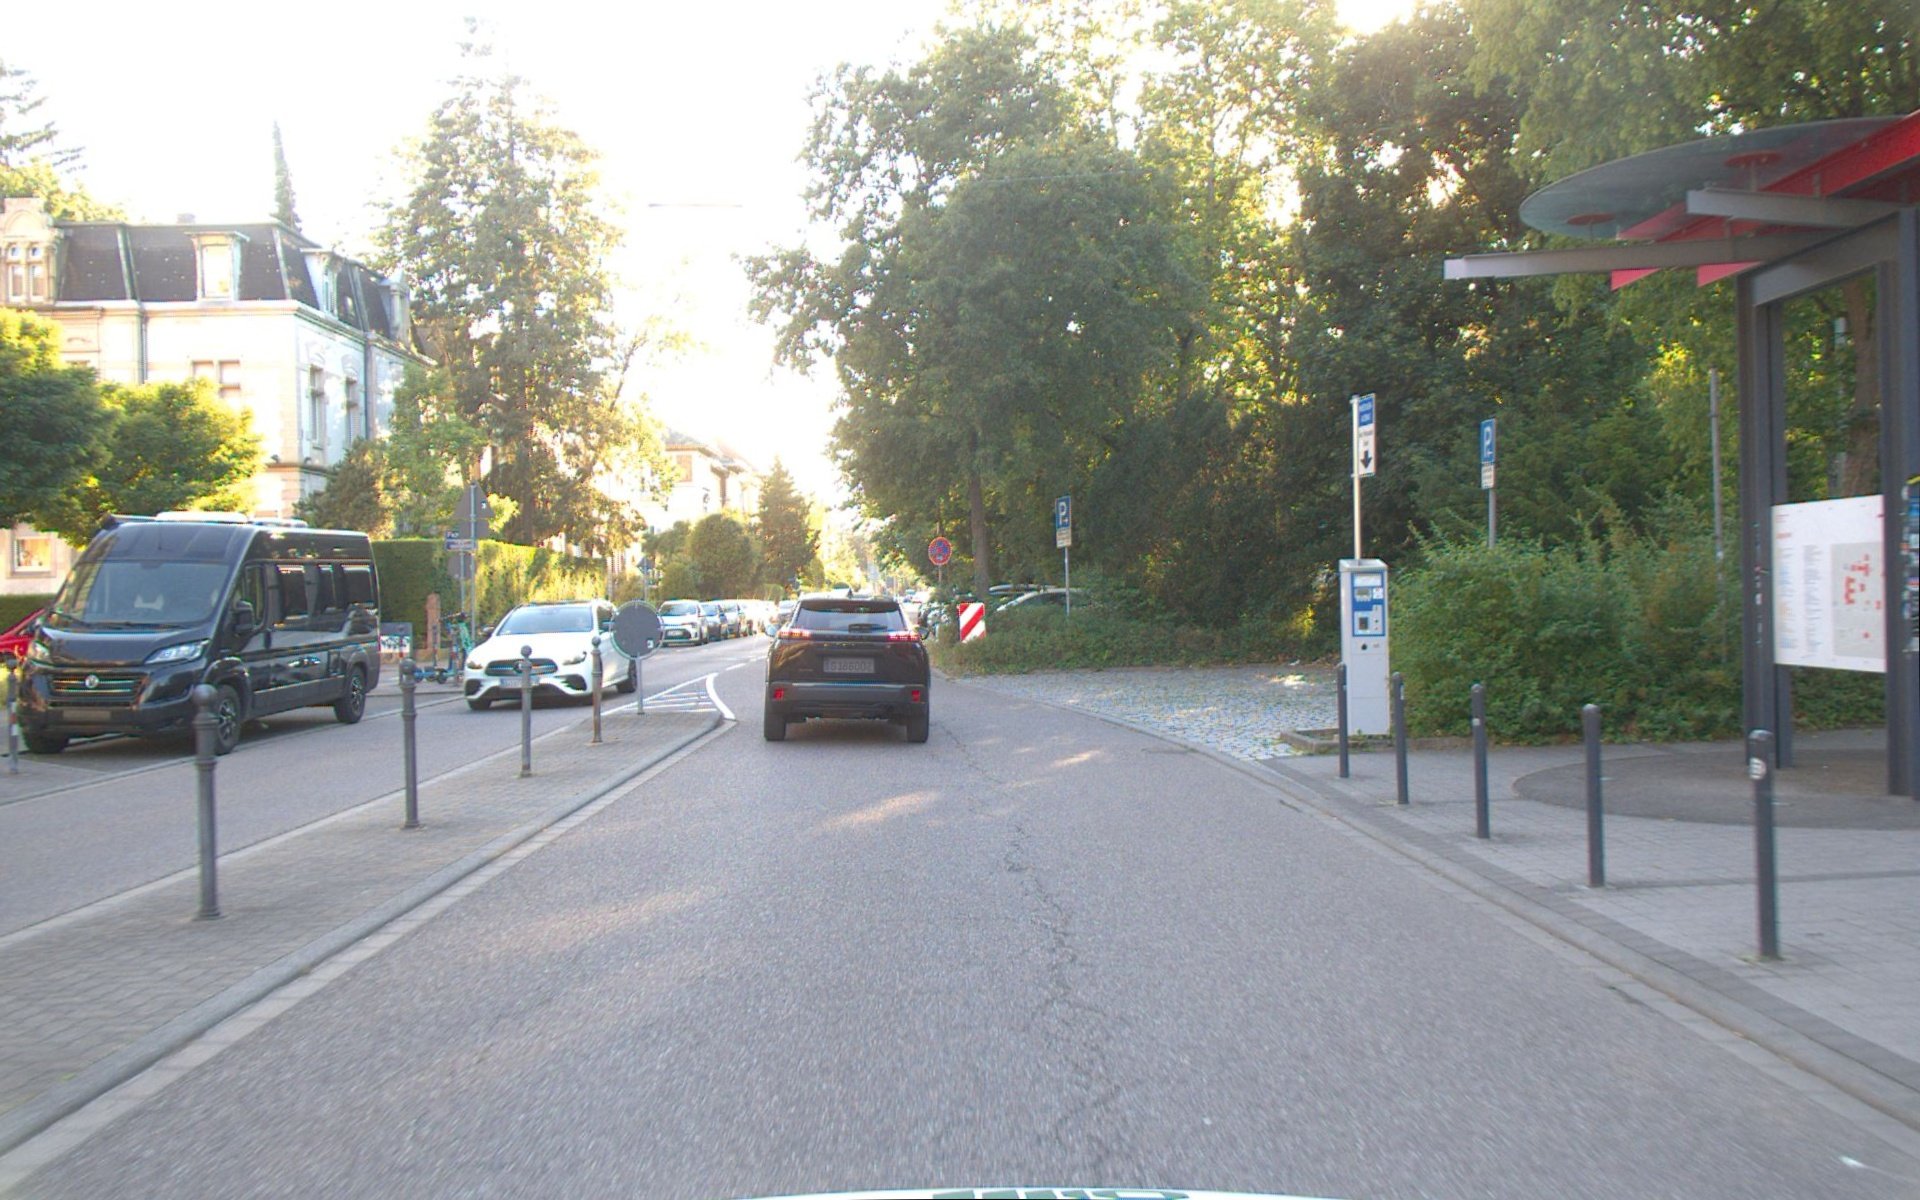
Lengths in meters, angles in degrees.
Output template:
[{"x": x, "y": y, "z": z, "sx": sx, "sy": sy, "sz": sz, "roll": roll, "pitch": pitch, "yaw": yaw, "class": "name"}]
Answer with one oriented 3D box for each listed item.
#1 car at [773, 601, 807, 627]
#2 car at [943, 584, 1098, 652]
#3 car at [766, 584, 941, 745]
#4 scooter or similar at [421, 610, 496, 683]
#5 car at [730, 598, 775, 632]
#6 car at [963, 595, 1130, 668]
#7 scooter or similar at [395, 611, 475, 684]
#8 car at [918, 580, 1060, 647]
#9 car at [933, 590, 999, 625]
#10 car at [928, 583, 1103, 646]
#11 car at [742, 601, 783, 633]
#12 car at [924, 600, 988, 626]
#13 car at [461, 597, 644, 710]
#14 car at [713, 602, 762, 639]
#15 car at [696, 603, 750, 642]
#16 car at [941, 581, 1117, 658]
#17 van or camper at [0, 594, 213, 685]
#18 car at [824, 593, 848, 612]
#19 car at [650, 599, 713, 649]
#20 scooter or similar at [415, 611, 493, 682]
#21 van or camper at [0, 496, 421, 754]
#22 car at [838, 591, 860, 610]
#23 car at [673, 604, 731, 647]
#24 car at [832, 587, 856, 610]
[{"x": -10.090, "y": 0.819, "z": 98.156, "sx": 1.717, "sy": 1.438, "sz": 3.762, "roll": -3, "pitch": 0, "yaw": -3, "class": "car"}, {"x": 1.540, "y": 0.446, "z": 43.166, "sx": 3.906, "sy": 1.581, "sz": 1.752, "roll": -2, "pitch": 1, "yaw": -2, "class": "car"}, {"x": -1.110, "y": 0.639, "z": 18.726, "sx": 1.735, "sy": 1.596, "sz": 4.108, "roll": 1, "pitch": 0, "yaw": -1, "class": "car"}, {"x": -9.159, "y": 0.837, "z": 30.256, "sx": 0.423, "sy": 1.297, "sz": 1.340, "roll": -1, "pitch": -1, "yaw": 34, "class": "scooter or similar"}, {"x": -9.657, "y": 0.701, "z": 77.156, "sx": 1.581, "sy": 1.492, "sz": 4.035, "roll": -2, "pitch": 0, "yaw": -1, "class": "car"}, {"x": 2.071, "y": 0.756, "z": 40.298, "sx": 3.906, "sy": 1.581, "sz": 1.725, "roll": -2, "pitch": 1, "yaw": -2, "class": "car"}, {"x": -9.715, "y": 0.871, "z": 30.611, "sx": 1.329, "sy": 1.297, "sz": 0.426, "roll": -1, "pitch": -1, "yaw": -37, "class": "scooter or similar"}, {"x": 0.854, "y": 0.408, "z": 51.283, "sx": 4.220, "sy": 1.836, "sz": 2.034, "roll": -3, "pitch": 0, "yaw": -2, "class": "car"}, {"x": 0.371, "y": 0.467, "z": 103.001, "sx": 3.910, "sy": 2.126, "sz": 1.755, "roll": -1, "pitch": 0, "yaw": -6, "class": "car"}, {"x": 1.514, "y": 0.366, "z": 45.300, "sx": 4.417, "sy": 1.581, "sz": 1.846, "roll": -1, "pitch": 1, "yaw": -20, "class": "car"}, {"x": -9.744, "y": 0.840, "z": 81.875, "sx": 1.581, "sy": 1.492, "sz": 4.035, "roll": -2, "pitch": 0, "yaw": -1, "class": "car"}, {"x": -0.284, "y": 0.824, "z": 105.750, "sx": 3.910, "sy": 1.552, "sz": 1.755, "roll": -1, "pitch": 0, "yaw": -6, "class": "car"}, {"x": -6.026, "y": 0.744, "z": 25.002, "sx": 1.706, "sy": 1.483, "sz": 4.622, "roll": -2, "pitch": 0, "yaw": -2, "class": "car"}, {"x": -9.599, "y": 0.882, "z": 71.683, "sx": 1.581, "sy": 1.492, "sz": 4.035, "roll": -2, "pitch": 0, "yaw": -1, "class": "car"}, {"x": -9.423, "y": 0.876, "z": 65.913, "sx": 1.581, "sy": 1.492, "sz": 4.035, "roll": -2, "pitch": 0, "yaw": -1, "class": "car"}, {"x": 1.547, "y": 0.423, "z": 38.065, "sx": 3.906, "sy": 1.581, "sz": 1.725, "roll": -2, "pitch": 1, "yaw": -2, "class": "car"}, {"x": -21.831, "y": 0.987, "z": 42.040, "sx": 4.670, "sy": 2.020, "sz": 2.001, "roll": -1, "pitch": 4, "yaw": 1, "class": "van or camper"}, {"x": -10.732, "y": 0.245, "z": 143.453, "sx": 1.861, "sy": 1.601, "sz": 3.999, "roll": -1, "pitch": 0, "yaw": -2, "class": "car"}, {"x": -9.311, "y": 0.781, "z": 55.526, "sx": 1.582, "sy": 1.541, "sz": 3.710, "roll": -3, "pitch": 0, "yaw": -3, "class": "car"}, {"x": -9.569, "y": 0.870, "z": 31.302, "sx": 1.329, "sy": 1.297, "sz": 0.426, "roll": -1, "pitch": -1, "yaw": -37, "class": "scooter or similar"}, {"x": -8.769, "y": 0.270, "z": 20.229, "sx": 2.184, "sy": 2.589, "sz": 7.077, "roll": 0, "pitch": 0, "yaw": -2, "class": "van or camper"}, {"x": -11.118, "y": 0.035, "z": 165.978, "sx": 1.953, "sy": 1.799, "sz": 3.999, "roll": -1, "pitch": 0, "yaw": -2, "class": "car"}, {"x": -9.505, "y": 0.921, "z": 61.135, "sx": 1.581, "sy": 1.511, "sz": 3.740, "roll": -2, "pitch": 0, "yaw": -2, "class": "car"}, {"x": -10.814, "y": -0.106, "z": 154.113, "sx": 1.953, "sy": 2.049, "sz": 4.000, "roll": -1, "pitch": 0, "yaw": 0, "class": "car"}]
